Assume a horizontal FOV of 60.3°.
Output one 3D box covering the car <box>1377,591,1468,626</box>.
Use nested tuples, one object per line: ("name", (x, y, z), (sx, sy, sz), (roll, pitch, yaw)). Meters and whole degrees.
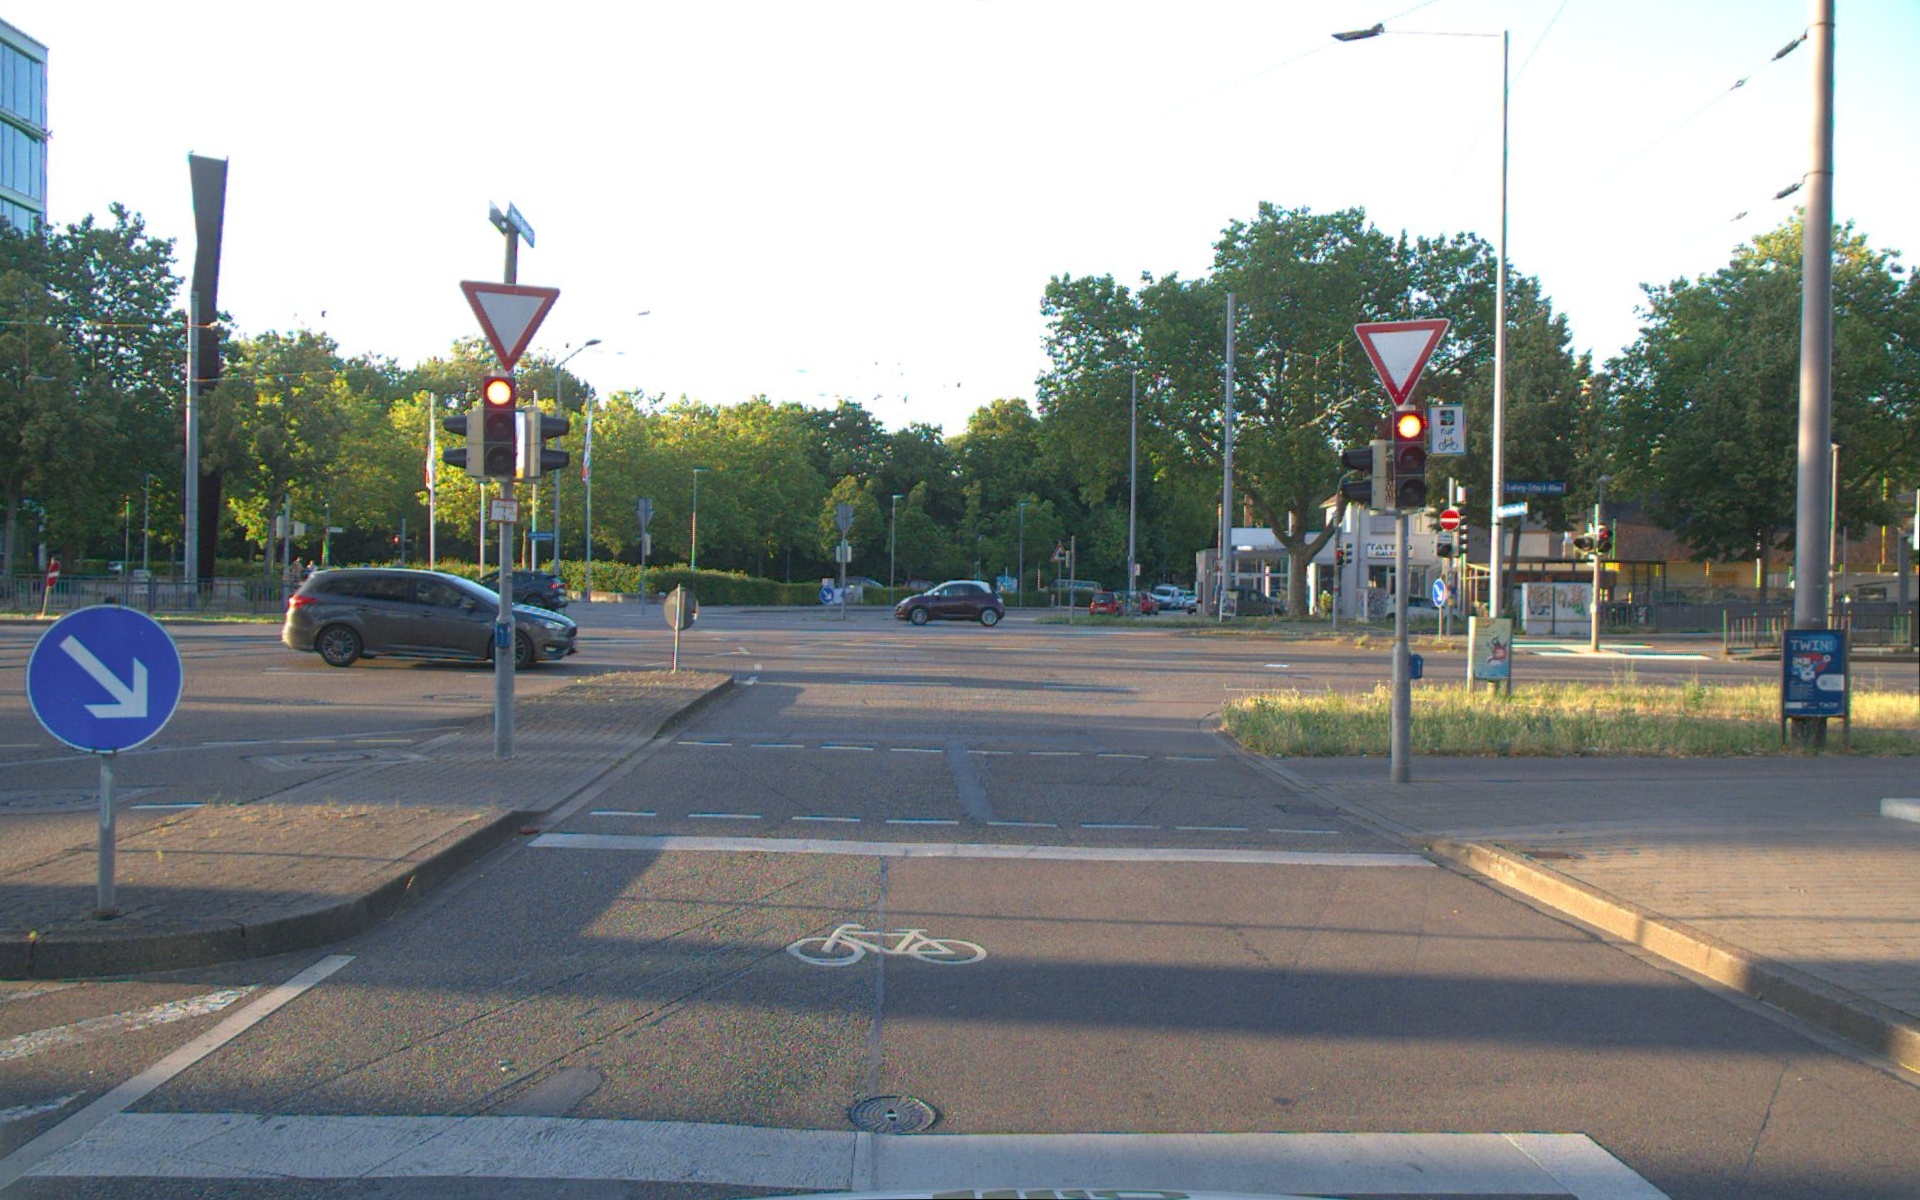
("car", (20.244, 0.374, 72.556), (3.659, 1.465, 1.665), (1, -1, 9))

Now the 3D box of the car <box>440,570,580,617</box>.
("car", (-15.278, -0.218, 56.268), (4.242, 1.522, 1.804), (1, -1, 1))

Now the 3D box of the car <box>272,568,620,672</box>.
("car", (-8.054, 0.295, 26.288), (4.908, 1.537, 1.987), (1, 0, -3))

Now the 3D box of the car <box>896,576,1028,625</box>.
("car", (0.088, 0.030, 54.171), (4.242, 1.522, 1.804), (1, -1, 1))

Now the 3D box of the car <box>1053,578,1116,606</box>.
("car", (9.498, -0.609, 126.029), (4.675, 2.041, 2.000), (1, -1, 1))

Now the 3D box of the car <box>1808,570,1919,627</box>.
("car", (43.669, -0.070, 78.690), (5.476, 2.596, 2.231), (1, 0, 7))

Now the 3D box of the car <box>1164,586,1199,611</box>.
("car", (15.546, -0.081, 115.838), (1.951, 1.691, 4.003), (0, -1, 14))

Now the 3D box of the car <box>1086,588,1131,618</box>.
("car", (8.615, 0.206, 95.815), (1.951, 1.691, 4.003), (0, -1, 14))

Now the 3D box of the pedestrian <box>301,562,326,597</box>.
("pedestrian", (-33.154, -1.058, 84.796), (0.844, 1.774, 0.828), (1, 0, 31))

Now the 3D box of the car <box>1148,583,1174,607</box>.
("car", (15.988, -0.383, 131.440), (1.823, 1.825, 4.003), (1, -1, 10))

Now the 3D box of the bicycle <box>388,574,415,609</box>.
("bicycle", (-22.085, -0.348, 65.443), (0.717, 1.364, 2.681), (1, 0, -13))

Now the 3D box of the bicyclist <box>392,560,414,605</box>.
("bicyclist", (-22.056, -0.688, 65.474), (0.738, 1.739, 0.916), (1, 0, -14))

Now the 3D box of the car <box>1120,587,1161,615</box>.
("car", (11.312, 0.079, 103.545), (1.951, 1.691, 4.003), (0, -1, 14))

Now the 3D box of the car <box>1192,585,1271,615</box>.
("car", (14.648, 0.012, 89.392), (4.129, 1.579, 2.001), (1, -1, 7))

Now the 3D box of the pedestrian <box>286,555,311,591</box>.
("pedestrian", (-33.610, -1.366, 83.998), (0.844, 1.774, 0.829), (1, 0, 29))

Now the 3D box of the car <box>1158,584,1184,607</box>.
("car", (17.396, -0.373, 136.356), (1.823, 1.825, 4.003), (0, -1, 12))
